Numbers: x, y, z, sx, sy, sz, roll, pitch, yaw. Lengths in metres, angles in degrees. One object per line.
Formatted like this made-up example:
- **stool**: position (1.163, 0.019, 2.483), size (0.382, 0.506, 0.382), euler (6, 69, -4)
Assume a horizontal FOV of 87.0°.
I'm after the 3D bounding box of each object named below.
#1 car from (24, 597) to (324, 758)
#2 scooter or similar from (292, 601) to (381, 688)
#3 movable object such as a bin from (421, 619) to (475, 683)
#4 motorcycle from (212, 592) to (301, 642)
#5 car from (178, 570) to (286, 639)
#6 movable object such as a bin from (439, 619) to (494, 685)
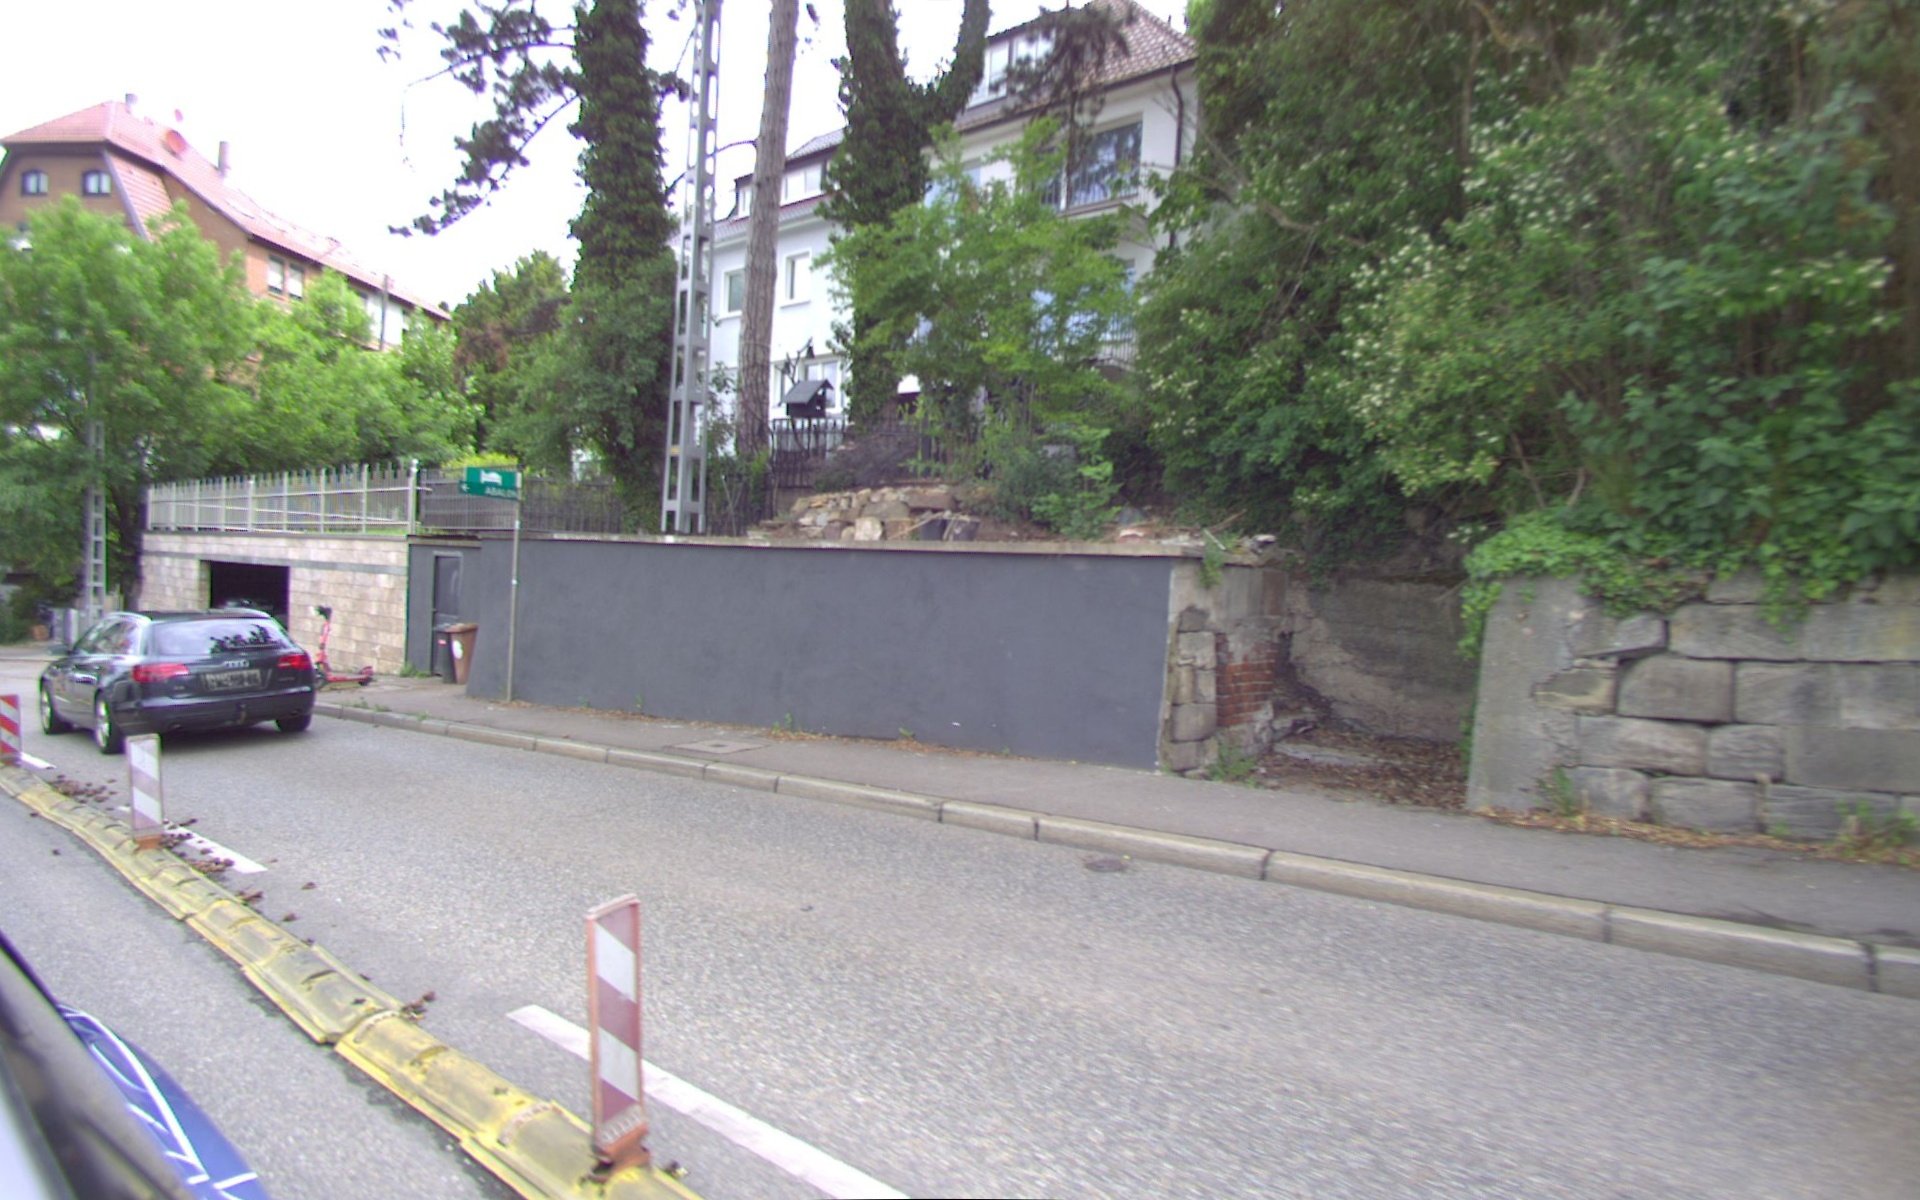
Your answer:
- **car**: position (-9.133, 0.753, 11.618), size (4.505, 1.475, 1.773), euler (-1, 0, 40)
- **scooter or similar**: position (-9.377, 0.642, 15.263), size (0.489, 1.242, 1.212), euler (-1, 0, 6)
- **movable object such as a bin**: position (-7.975, 0.778, 15.767), size (0.600, 0.946, 0.537), euler (-1, 0, 38)
- **motorcycle**: position (-18.333, 0.416, 26.414), size (0.637, 1.192, 1.819), euler (5, 4, 42)
- **car**: position (-20.026, 0.064, 27.803), size (3.585, 1.616, 1.553), euler (5, 4, 39)
- **movable object such as a bin**: position (-7.503, 0.778, 15.389), size (0.600, 0.946, 0.537), euler (-1, 0, 38)
